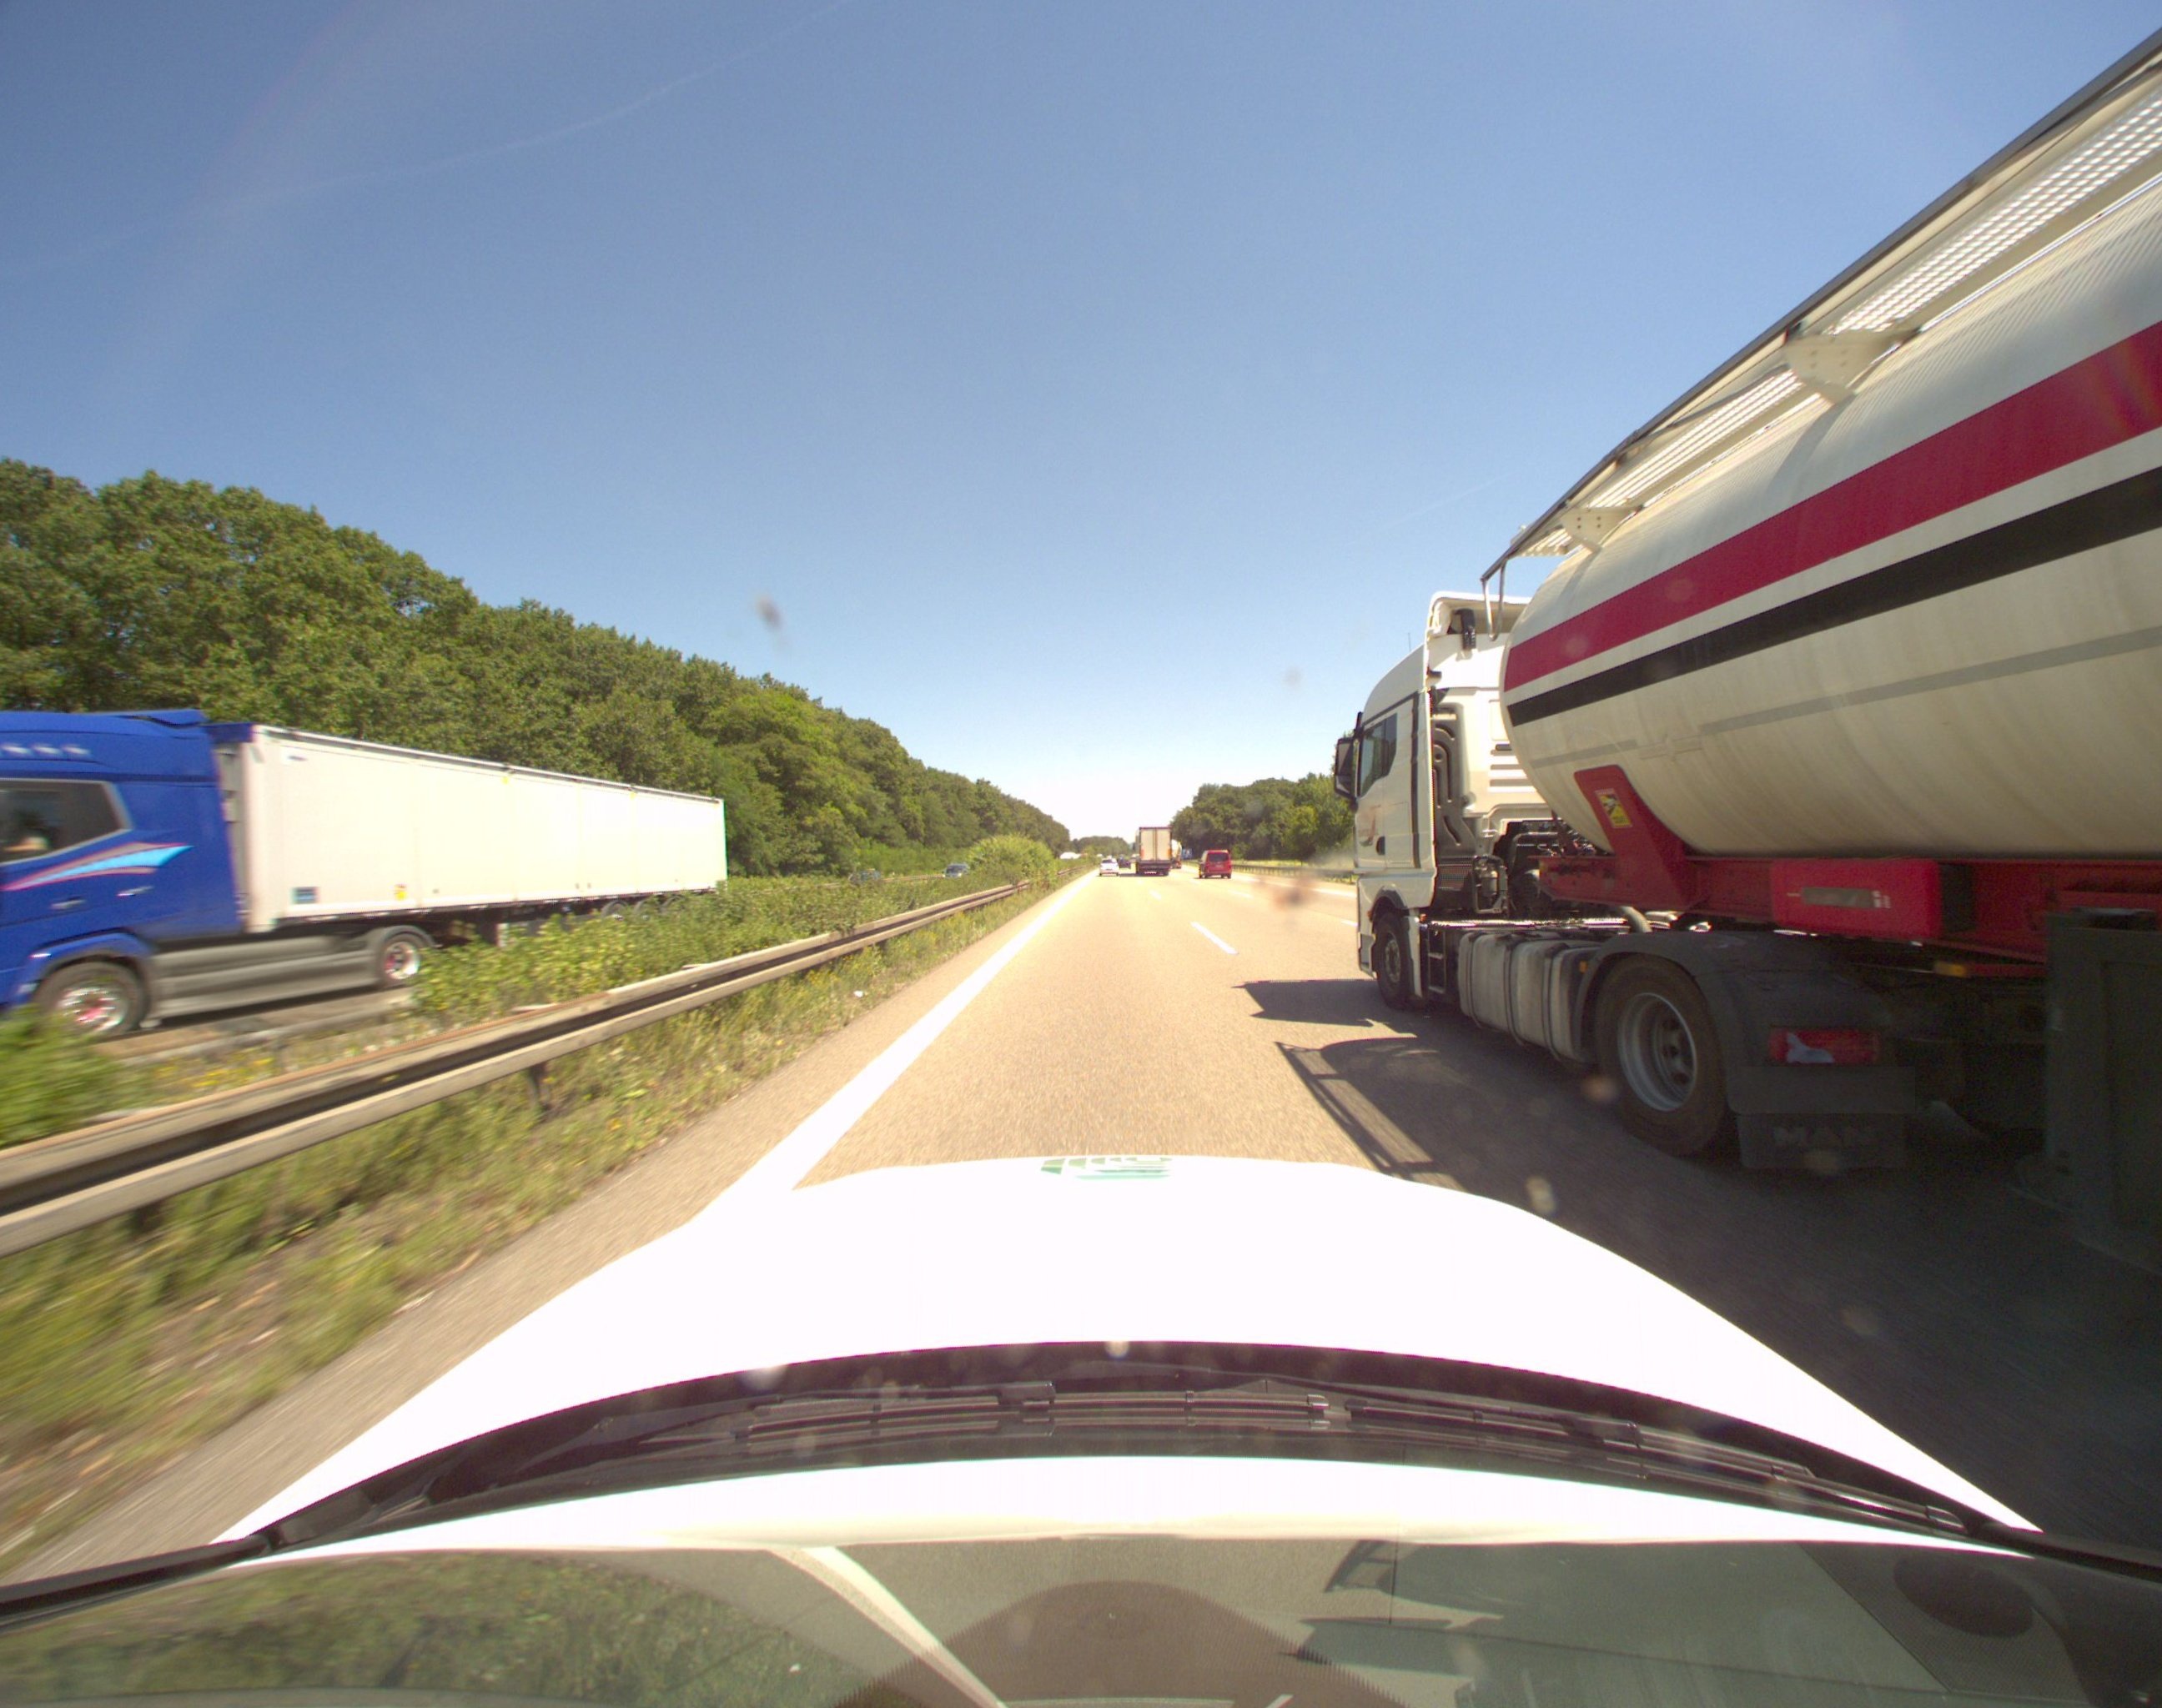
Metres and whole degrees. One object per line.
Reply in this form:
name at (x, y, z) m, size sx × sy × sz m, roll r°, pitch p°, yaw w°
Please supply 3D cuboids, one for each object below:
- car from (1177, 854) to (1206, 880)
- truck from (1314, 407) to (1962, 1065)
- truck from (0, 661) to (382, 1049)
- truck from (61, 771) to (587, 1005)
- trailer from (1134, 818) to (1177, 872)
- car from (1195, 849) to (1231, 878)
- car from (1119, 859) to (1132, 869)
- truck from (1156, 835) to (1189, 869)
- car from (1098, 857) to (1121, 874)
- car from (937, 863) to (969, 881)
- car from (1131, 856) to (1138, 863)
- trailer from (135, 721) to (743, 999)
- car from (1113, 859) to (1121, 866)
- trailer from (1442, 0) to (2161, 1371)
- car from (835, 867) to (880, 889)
car at (9.070, 1.050, 67.176) m, size 1.985 × 2.014 × 4.003 m, roll -1°, pitch 0°, yaw 2°
truck at (4.331, -0.764, 7.803) m, size 2.780 × 4.204 × 5.002 m, roll -2°, pitch 0°, yaw 2°
truck at (-12.542, 0.049, 10.318) m, size 2.859 × 4.009 × 5.002 m, roll -2°, pitch 0°, yaw 2°
truck at (-16.622, 0.620, 19.606) m, size 3.002 × 4.114 × 10.004 m, roll -2°, pitch 0°, yaw 2°
trailer at (6.307, -0.708, 70.869) m, size 3.210 × 4.143 × 12.362 m, roll -2°, pitch 0°, yaw 3°
car at (9.514, 0.675, 58.875) m, size 1.849 × 2.003 × 5.524 m, roll -1°, pitch 0°, yaw 2°
car at (6.081, 1.361, 112.031) m, size 1.662 × 1.289 × 4.001 m, roll -2°, pitch 0°, yaw 2°
truck at (12.297, -0.240, 110.354) m, size 3.212 × 4.345 × 10.807 m, roll -2°, pitch 0°, yaw 1°
car at (2.445, 0.977, 70.422) m, size 1.805 × 1.405 × 3.317 m, roll -2°, pitch 0°, yaw 0°
car at (-10.393, 1.482, 66.346) m, size 1.787 × 1.338 × 4.001 m, roll -2°, pitch 0°, yaw 2°
car at (13.264, 1.357, 202.800) m, size 1.662 × 1.765 × 4.001 m, roll -2°, pitch 0°, yaw 2°
trailer at (-12.266, 0.100, 18.752) m, size 2.859 × 4.009 × 13.523 m, roll -2°, pitch 0°, yaw 2°
car at (9.873, 2.273, 222.633) m, size 2.099 × 2.014 × 4.002 m, roll -1°, pitch 0°, yaw 2°
trailer at (4.096, -0.794, 0.191) m, size 2.780 × 4.204 × 12.357 m, roll -2°, pitch 0°, yaw 2°
car at (-14.851, 1.586, 54.280) m, size 1.787 × 1.338 × 4.001 m, roll -2°, pitch 0°, yaw 2°
